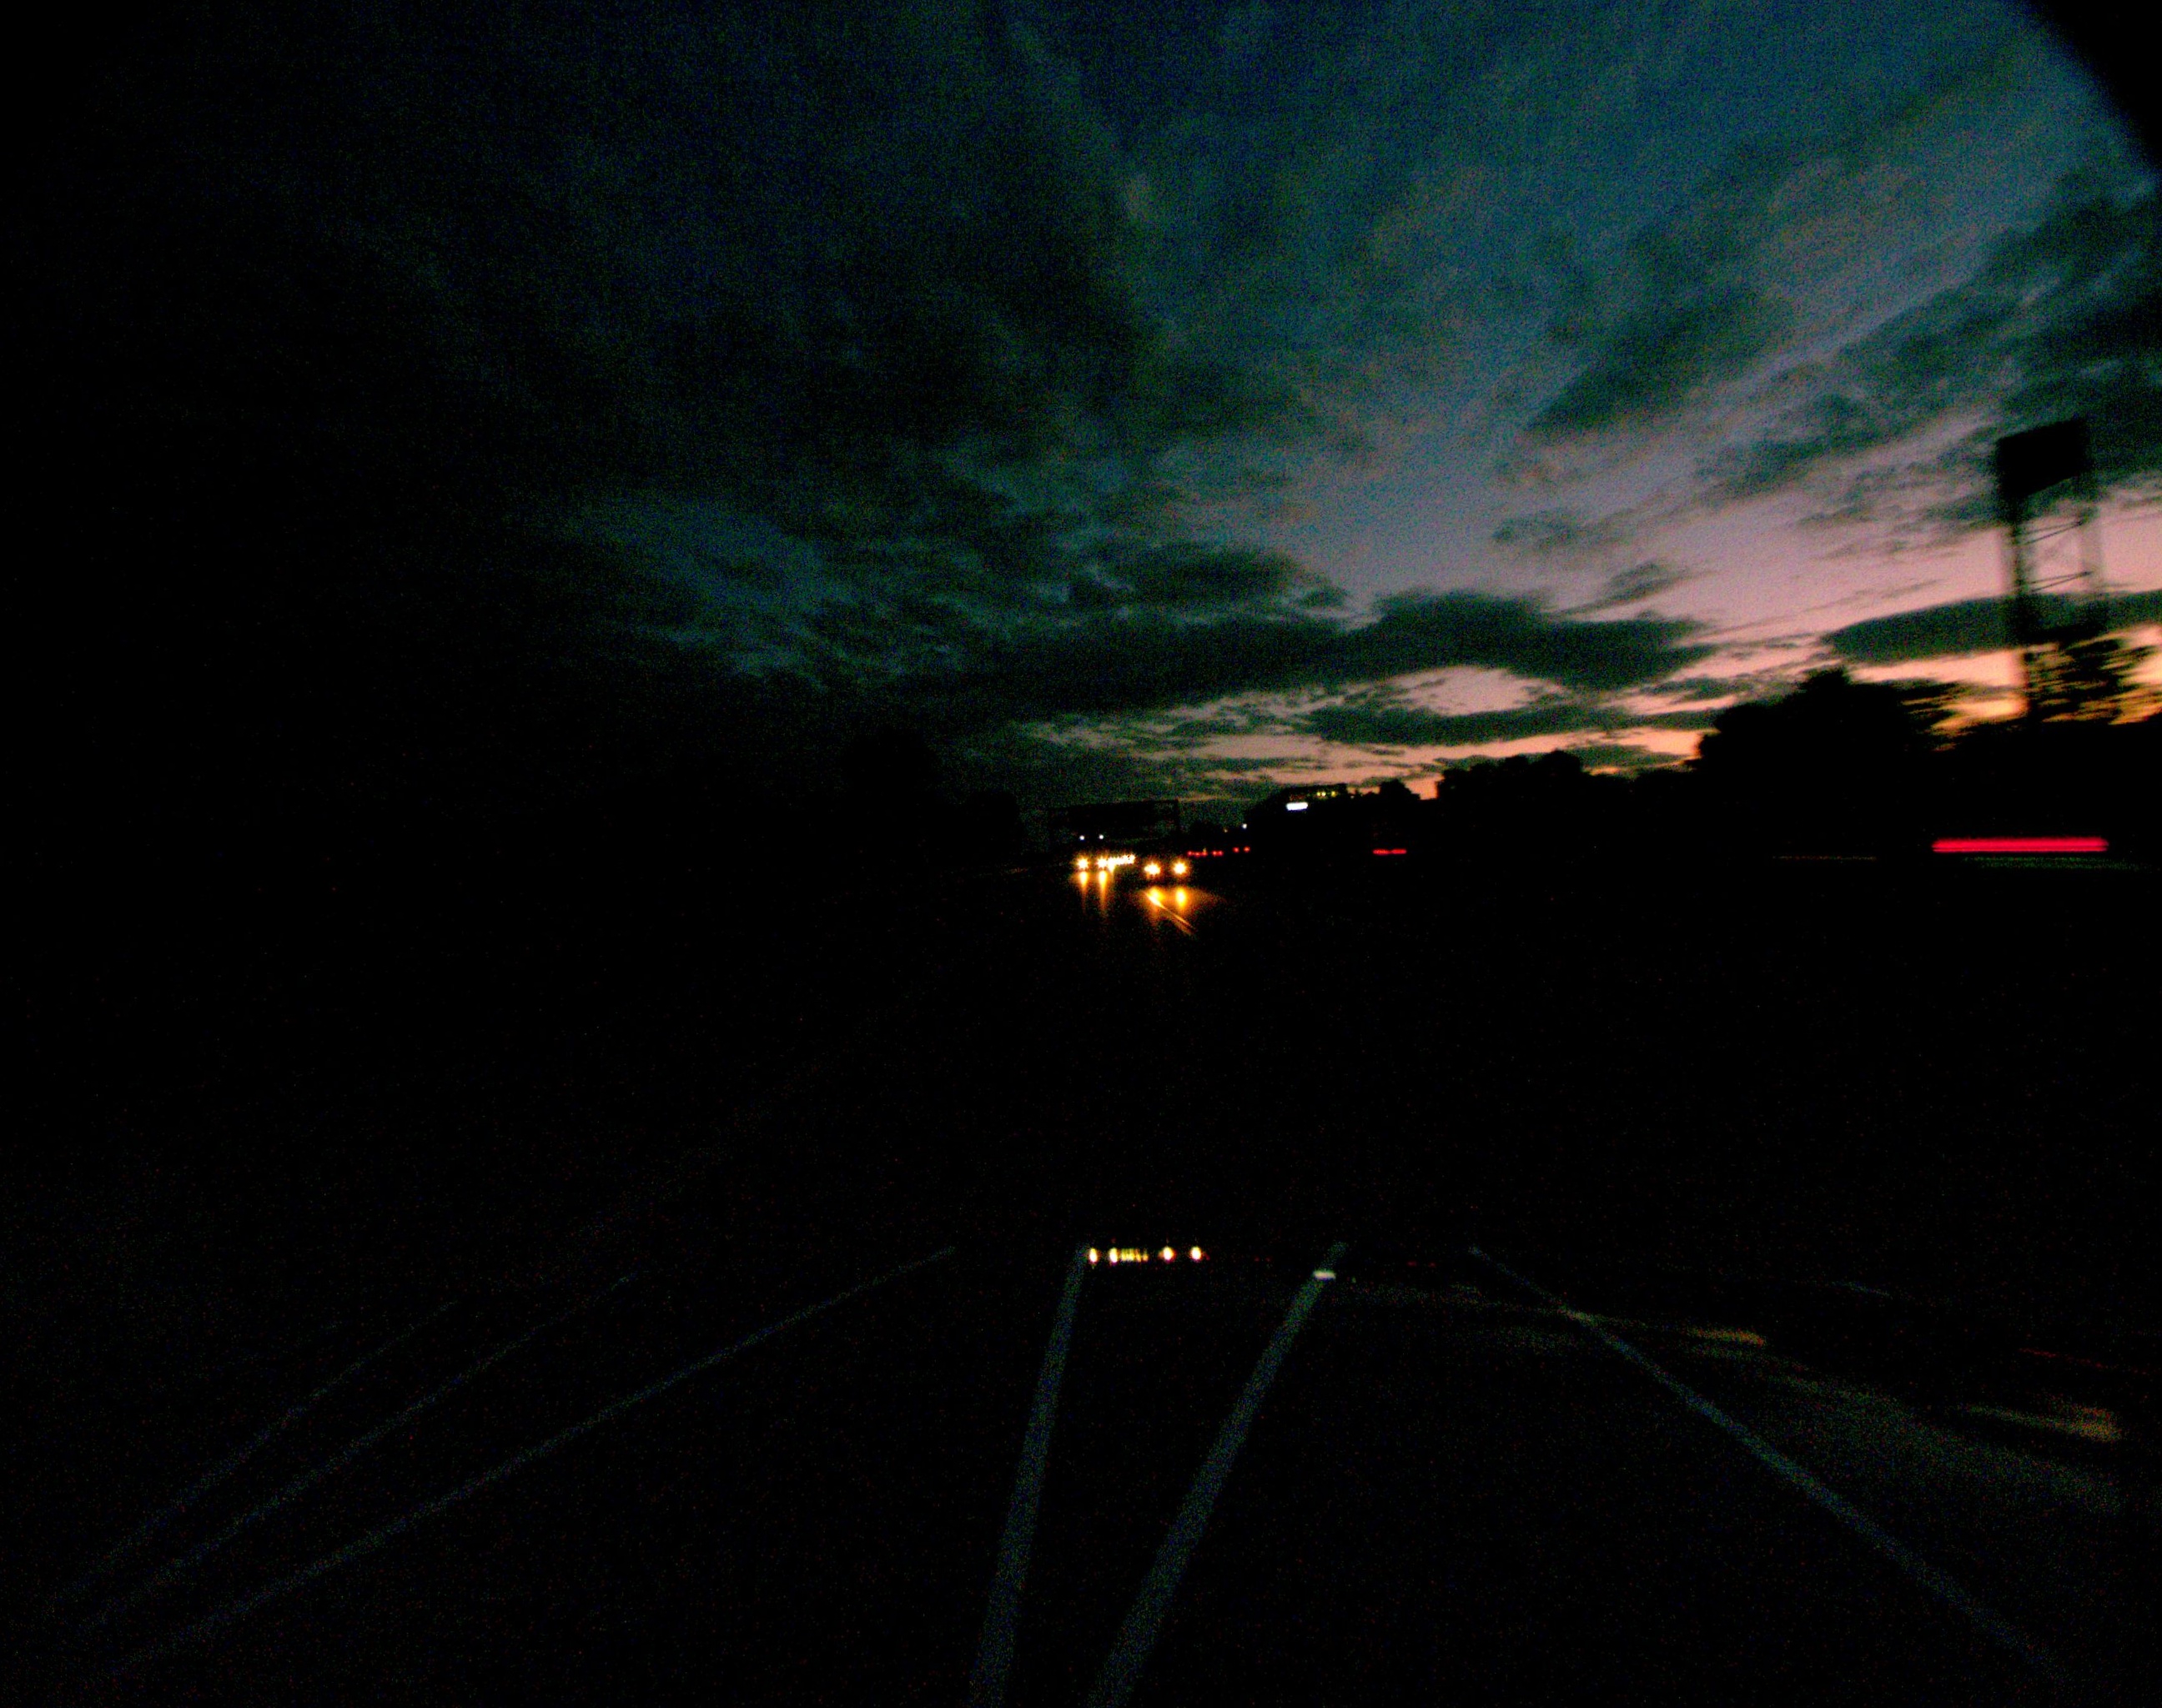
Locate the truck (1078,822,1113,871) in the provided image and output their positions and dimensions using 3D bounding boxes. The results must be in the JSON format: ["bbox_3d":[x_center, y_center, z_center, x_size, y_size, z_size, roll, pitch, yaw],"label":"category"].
[{"bbox_3d":[1.337,-0.753,76.380,3.027,4.372,11.613,-2,1,0],"label":"truck"}]

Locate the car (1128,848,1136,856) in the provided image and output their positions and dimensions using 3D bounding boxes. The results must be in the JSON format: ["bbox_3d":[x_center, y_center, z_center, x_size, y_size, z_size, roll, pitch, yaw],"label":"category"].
[{"bbox_3d":[11.646,-0.514,175.024,1.653,1.654,3.775,-2,1,2],"label":"car"}]

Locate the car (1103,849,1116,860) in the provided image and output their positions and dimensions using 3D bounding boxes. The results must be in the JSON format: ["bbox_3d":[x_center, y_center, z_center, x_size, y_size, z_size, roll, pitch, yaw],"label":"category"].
[{"bbox_3d":[4.693,0.031,125.790,1.998,1.715,4.000,-2,1,2],"label":"car"}]

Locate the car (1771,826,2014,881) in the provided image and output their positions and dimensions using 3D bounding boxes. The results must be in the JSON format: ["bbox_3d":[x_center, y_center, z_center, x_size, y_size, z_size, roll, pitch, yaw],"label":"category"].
[{"bbox_3d":[24.077,-0.049,22.918,1.998,1.393,5.023,-2,1,1],"label":"car"}]

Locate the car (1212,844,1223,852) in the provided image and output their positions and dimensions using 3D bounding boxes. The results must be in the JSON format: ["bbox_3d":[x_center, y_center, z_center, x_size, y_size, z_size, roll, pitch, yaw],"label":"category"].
[{"bbox_3d":[30.870,-1.360,172.257,1.792,1.627,4.582,-2,1,3],"label":"car"}]

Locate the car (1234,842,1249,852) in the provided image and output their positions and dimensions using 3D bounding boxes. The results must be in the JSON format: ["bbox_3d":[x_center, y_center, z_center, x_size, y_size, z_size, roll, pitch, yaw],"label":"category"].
[{"bbox_3d":[27.989,-1.236,132.608,1.792,1.799,4.582,-2,1,3],"label":"car"}]

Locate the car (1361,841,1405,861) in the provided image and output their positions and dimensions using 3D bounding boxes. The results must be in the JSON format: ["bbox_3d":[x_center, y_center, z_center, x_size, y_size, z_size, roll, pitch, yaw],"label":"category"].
[{"bbox_3d":[24.781,-0.284,62.424,1.792,1.534,4.581,-2,1,1],"label":"car"}]

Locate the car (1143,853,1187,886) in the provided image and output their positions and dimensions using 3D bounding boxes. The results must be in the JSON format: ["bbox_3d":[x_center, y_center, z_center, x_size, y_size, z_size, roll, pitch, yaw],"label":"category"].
[{"bbox_3d":[4.117,0.722,37.709,1.717,1.471,3.999,-2,1,0],"label":"car"}]

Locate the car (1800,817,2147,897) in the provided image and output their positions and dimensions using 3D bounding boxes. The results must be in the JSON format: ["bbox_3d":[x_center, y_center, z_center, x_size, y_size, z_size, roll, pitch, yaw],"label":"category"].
[{"bbox_3d":[19.636,0.032,17.204,1.998,1.464,5.023,-2,1,1],"label":"car"}]

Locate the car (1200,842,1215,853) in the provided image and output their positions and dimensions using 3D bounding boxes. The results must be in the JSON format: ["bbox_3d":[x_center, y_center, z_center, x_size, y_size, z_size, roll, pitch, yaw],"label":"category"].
[{"bbox_3d":[21.655,-1.095,130.480,1.998,1.769,4.000,-2,1,2],"label":"car"}]
